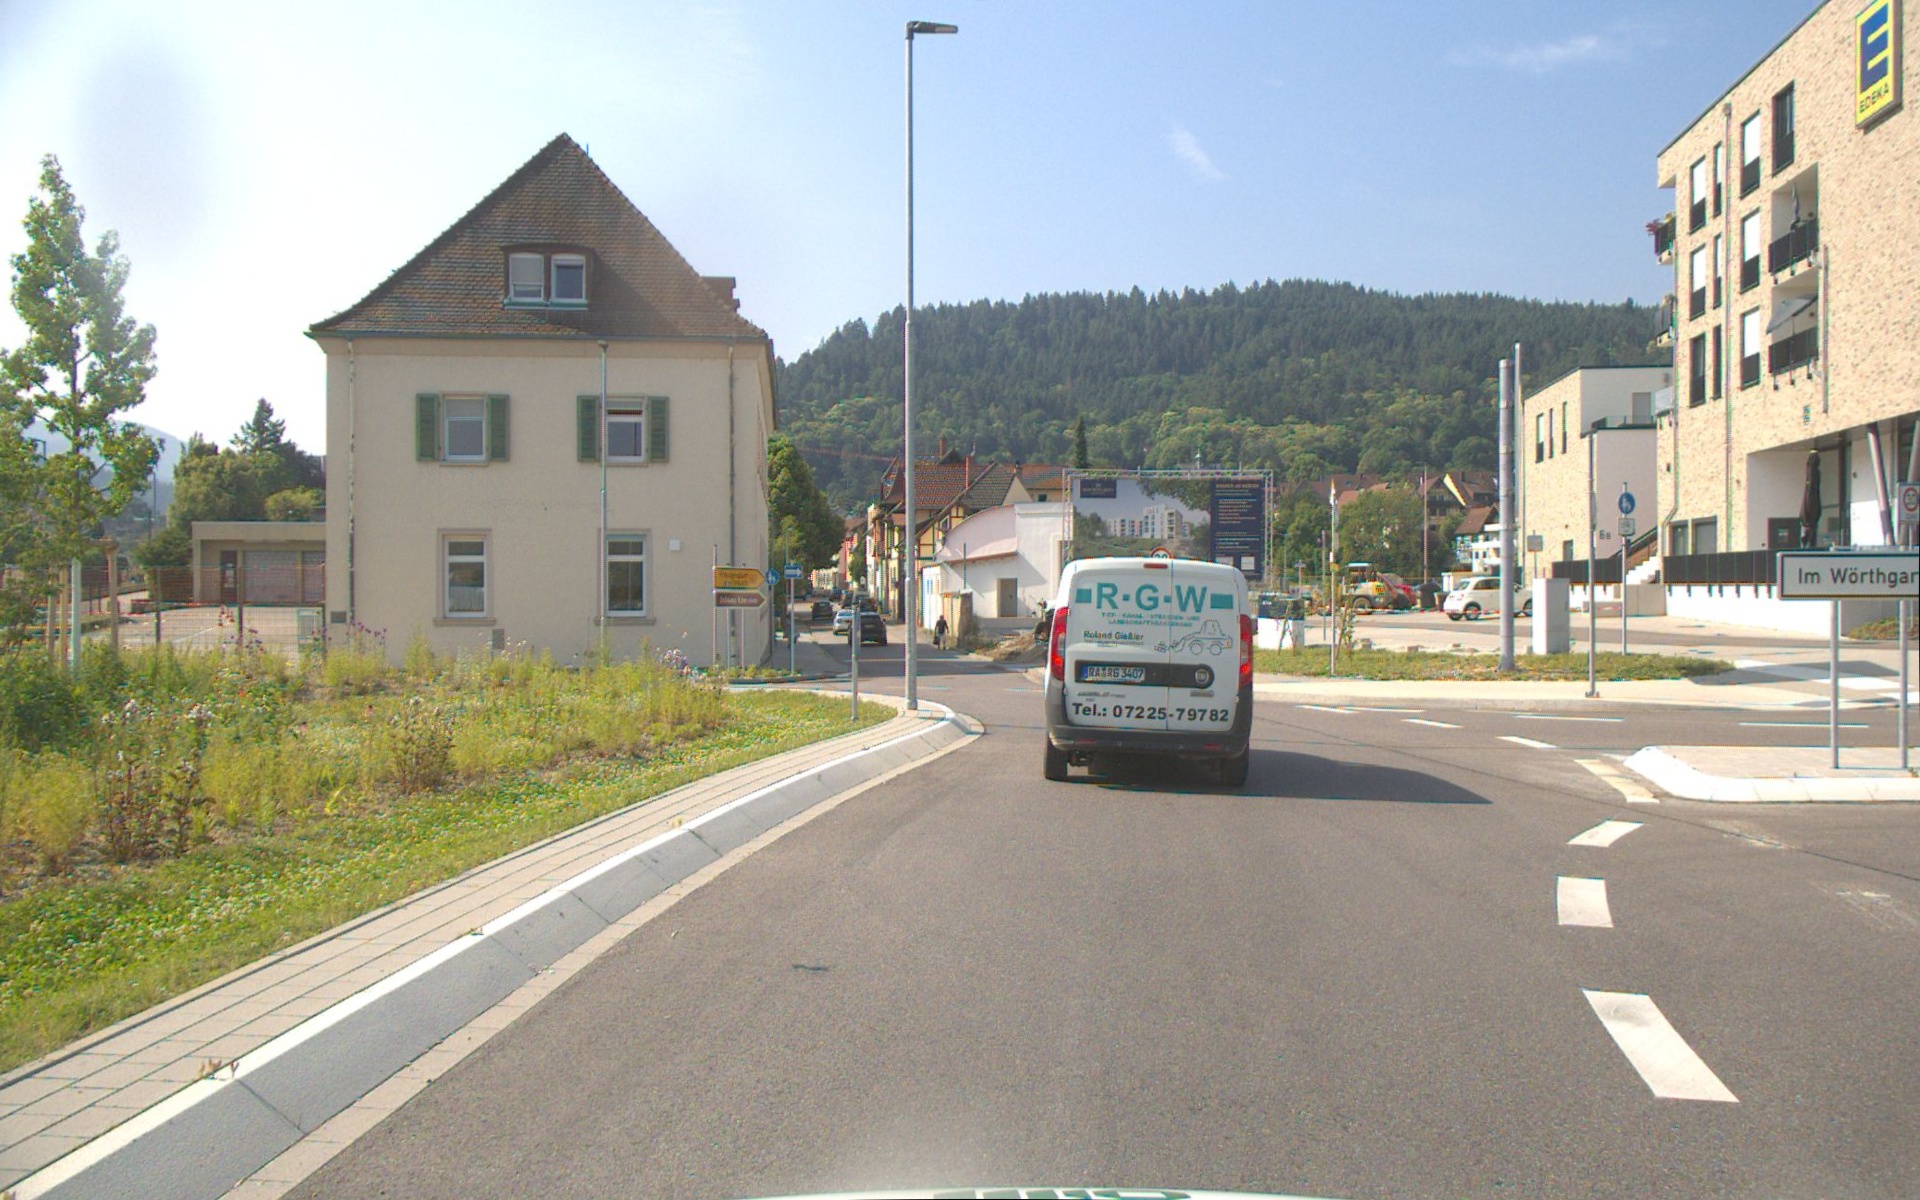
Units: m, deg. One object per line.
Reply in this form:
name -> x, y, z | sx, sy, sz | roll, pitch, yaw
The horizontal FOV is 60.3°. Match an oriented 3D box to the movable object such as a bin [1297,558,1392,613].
movable object such as a bin -> 19.757, -0.724, 84.914 | 4.516, 2.614, 1.926 | -2, 0, 19

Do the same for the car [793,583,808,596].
car -> -20.165, -1.352, 209.568 | 1.776, 1.624, 3.921 | 2, 1, -6

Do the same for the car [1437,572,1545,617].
car -> 19.247, -0.206, 60.032 | 3.340, 1.521, 1.592 | -1, -1, -7

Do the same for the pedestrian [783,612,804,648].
pedestrian -> -7.820, 1.415, 77.555 | 0.939, 1.659, 0.757 | 1, -1, -7

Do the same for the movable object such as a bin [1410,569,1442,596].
movable object such as a bin -> 23.699, -0.889, 84.076 | 1.269, 1.290, 1.321 | 2, 1, 4

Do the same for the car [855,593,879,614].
car -> -8.040, 0.284, 142.860 | 1.776, 1.624, 3.922 | 2, 1, -6

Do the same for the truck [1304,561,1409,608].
truck -> 21.178, -0.807, 88.242 | 5.204, 2.305, 2.219 | -2, 0, 20

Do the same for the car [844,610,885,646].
car -> -4.866, 1.414, 83.845 | 1.776, 1.624, 3.920 | 2, 1, -8

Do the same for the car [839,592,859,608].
car -> -11.366, -0.045, 169.262 | 1.638, 1.534, 3.993 | -1, 1, -8

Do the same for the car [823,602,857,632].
car -> -7.288, 1.014, 99.819 | 1.776, 1.624, 3.920 | 2, 1, -8

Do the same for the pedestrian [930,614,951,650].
pedestrian -> -0.944, 1.561, 79.917 | 0.871, 1.712, 0.717 | 1, -1, -7

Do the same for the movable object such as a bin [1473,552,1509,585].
movable object such as a bin -> 24.906, -1.474, 77.548 | 1.272, 1.489, 1.321 | 2, 1, 4

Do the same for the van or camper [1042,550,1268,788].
van or camper -> 1.790, 0.548, 15.267 | 1.789, 1.877, 4.191 | 0, 0, 7

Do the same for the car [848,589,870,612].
car -> -9.361, 0.053, 152.825 | 1.835, 2.049, 3.994 | 1, 1, -7

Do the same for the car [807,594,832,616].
car -> -11.260, 0.363, 132.371 | 1.776, 1.624, 3.920 | 2, 1, -8

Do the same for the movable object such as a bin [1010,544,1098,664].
movable object such as a bin -> 3.252, 0.134, 59.091 | 2.249, 3.921, 7.794 | 2, 0, -2

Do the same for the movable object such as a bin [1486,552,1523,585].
movable object such as a bin -> 24.881, -1.438, 75.663 | 1.272, 1.489, 1.321 | 2, 1, 4

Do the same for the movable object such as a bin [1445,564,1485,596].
movable object such as a bin -> 24.763, -0.989, 81.161 | 1.547, 1.489, 1.321 | 2, 1, 4
